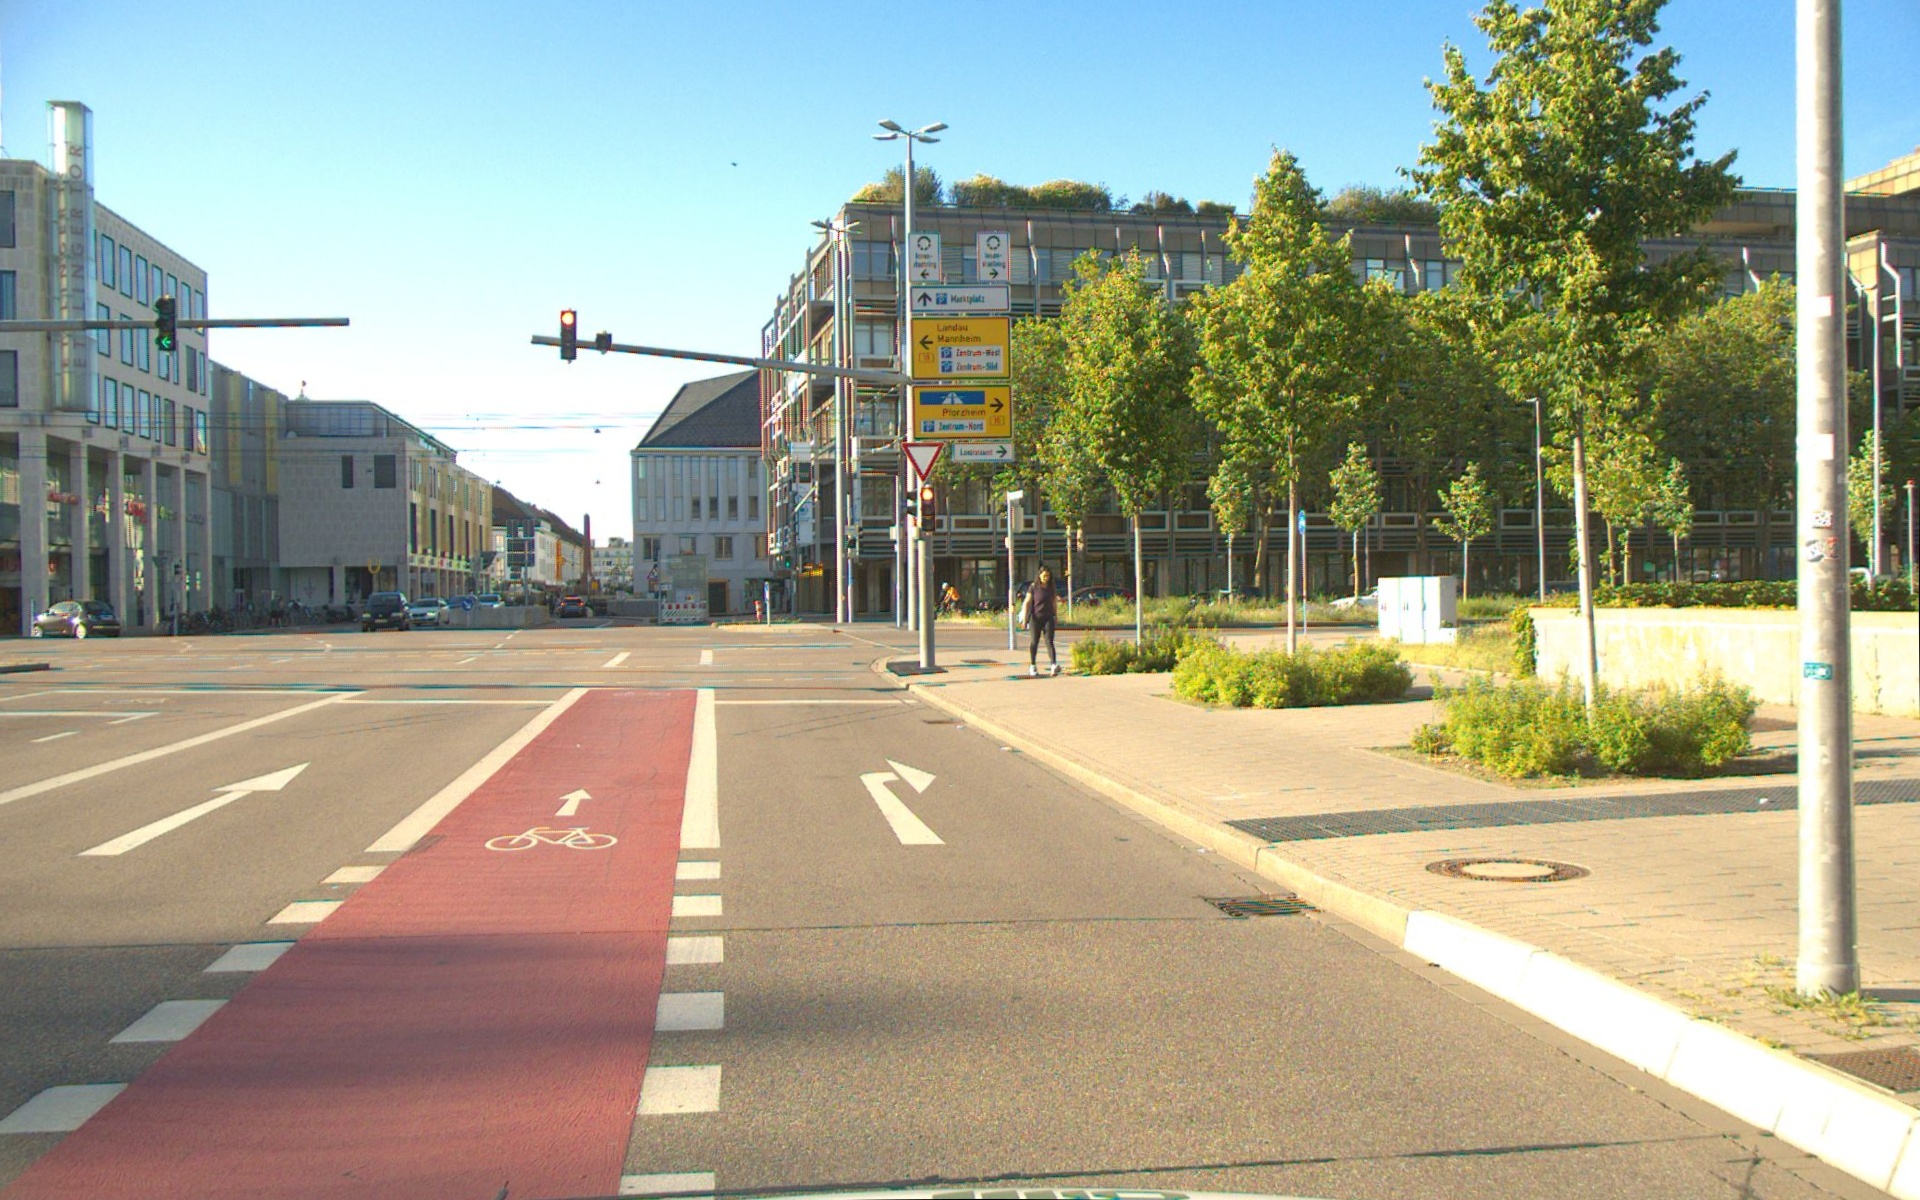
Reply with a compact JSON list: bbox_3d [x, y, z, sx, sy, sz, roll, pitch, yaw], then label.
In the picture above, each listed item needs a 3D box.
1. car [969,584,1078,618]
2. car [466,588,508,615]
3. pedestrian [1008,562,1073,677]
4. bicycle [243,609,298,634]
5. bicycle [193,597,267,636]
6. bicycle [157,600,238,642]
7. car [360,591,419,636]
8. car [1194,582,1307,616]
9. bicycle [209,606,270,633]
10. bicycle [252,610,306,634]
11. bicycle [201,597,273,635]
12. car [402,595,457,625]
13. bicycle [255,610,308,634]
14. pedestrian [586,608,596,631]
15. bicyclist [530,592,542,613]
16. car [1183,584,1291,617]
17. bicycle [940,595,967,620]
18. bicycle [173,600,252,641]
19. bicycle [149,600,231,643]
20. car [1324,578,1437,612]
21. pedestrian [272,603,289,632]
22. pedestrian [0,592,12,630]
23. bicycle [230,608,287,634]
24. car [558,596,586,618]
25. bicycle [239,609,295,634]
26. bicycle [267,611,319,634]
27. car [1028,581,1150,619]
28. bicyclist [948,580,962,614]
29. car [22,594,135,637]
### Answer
[{"bbox_3d":[2.829,0.019,73.957,4.549,1.380,1.995,-1,2,-12],"label":"car"},{"bbox_3d":[-30.789,0.071,107.776,1.956,1.651,4.230,-1,1,-8],"label":"car"},{"bbox_3d":[1.290,0.305,26.444,0.804,1.779,1.042,-2,0,13],"label":"pedestrian"},{"bbox_3d":[-42.693,1.338,102.481,2.997,1.425,0.900,-1,0,-13],"label":"bicycle"},{"bbox_3d":[-40.651,0.890,92.142,3.557,2.049,0.900,-1,0,-13],"label":"bicycle"},{"bbox_3d":[-39.003,1.057,84.674,3.557,2.049,1.083,-1,0,-13],"label":"bicycle"},{"bbox_3d":[-25.184,0.559,73.132,1.959,1.772,4.632,-1,2,-13],"label":"car"},{"bbox_3d":[12.816,-0.061,73.086,4.549,1.380,1.995,-1,2,-12],"label":"car"},{"bbox_3d":[-41.323,1.108,94.888,2.997,1.425,0.900,-1,0,-13],"label":"bicycle"},{"bbox_3d":[-43.258,1.401,105.121,2.997,1.425,0.900,-1,0,-13],"label":"bicycle"},{"bbox_3d":[-41.041,0.897,93.943,3.557,2.049,0.900,-1,0,-13],"label":"bicycle"},{"bbox_3d":[-27.930,0.520,87.251,1.956,1.380,4.639,-1,2,-8],"label":"car"},{"bbox_3d":[-43.540,1.431,106.187,2.997,1.425,0.900,-1,0,-13],"label":"bicycle"},{"bbox_3d":[-28.064,1.468,125.707,0.702,1.697,0.984,-1,0,-13],"label":"pedestrian"},{"bbox_3d":[-29.827,0.189,116.472,0.733,1.486,0.765,-1,0,-11],"label":"bicyclist"},{"bbox_3d":[12.823,0.007,76.746,4.549,1.380,1.995,-1,2,-12],"label":"car"},{"bbox_3d":[-0.260,0.305,66.773,1.056,0.988,0.457,-1,0,-6],"label":"bicycle"},{"bbox_3d":[-38.924,1.046,86.158,3.557,2.049,1.083,-1,0,-13],"label":"bicycle"},{"bbox_3d":[-38.774,1.075,83.357,3.562,2.049,1.082,-1,0,-16],"label":"bicycle"},{"bbox_3d":[18.845,-0.238,74.220,4.549,1.380,1.995,-1,2,-12],"label":"car"},{"bbox_3d":[-39.104,1.021,95.186,0.736,1.636,0.617,-1,0,-36],"label":"pedestrian"},{"bbox_3d":[-41.823,0.463,72.125,0.611,1.636,0.652,-1,0,-9],"label":"pedestrian"},{"bbox_3d":[-42.075,1.259,99.242,2.997,1.425,0.900,-1,0,-13],"label":"bicycle"},{"bbox_3d":[-29.218,0.498,124.486,1.960,1.579,3.985,-1,1,-14],"label":"car"},{"bbox_3d":[-42.330,1.296,101.108,2.997,1.425,0.900,-1,0,-13],"label":"bicycle"},{"bbox_3d":[-44.010,1.498,109.181,2.997,1.425,0.900,-1,0,-13],"label":"bicycle"},{"bbox_3d":[5.182,-0.009,66.595,4.549,1.380,1.995,-1,2,-12],"label":"car"},{"bbox_3d":[-0.216,-0.141,66.782,0.498,1.361,0.452,-1,0,-6],"label":"bicyclist"},{"bbox_3d":[-34.232,0.604,64.219,3.697,1.591,1.783,-1,1,18],"label":"car"}]
